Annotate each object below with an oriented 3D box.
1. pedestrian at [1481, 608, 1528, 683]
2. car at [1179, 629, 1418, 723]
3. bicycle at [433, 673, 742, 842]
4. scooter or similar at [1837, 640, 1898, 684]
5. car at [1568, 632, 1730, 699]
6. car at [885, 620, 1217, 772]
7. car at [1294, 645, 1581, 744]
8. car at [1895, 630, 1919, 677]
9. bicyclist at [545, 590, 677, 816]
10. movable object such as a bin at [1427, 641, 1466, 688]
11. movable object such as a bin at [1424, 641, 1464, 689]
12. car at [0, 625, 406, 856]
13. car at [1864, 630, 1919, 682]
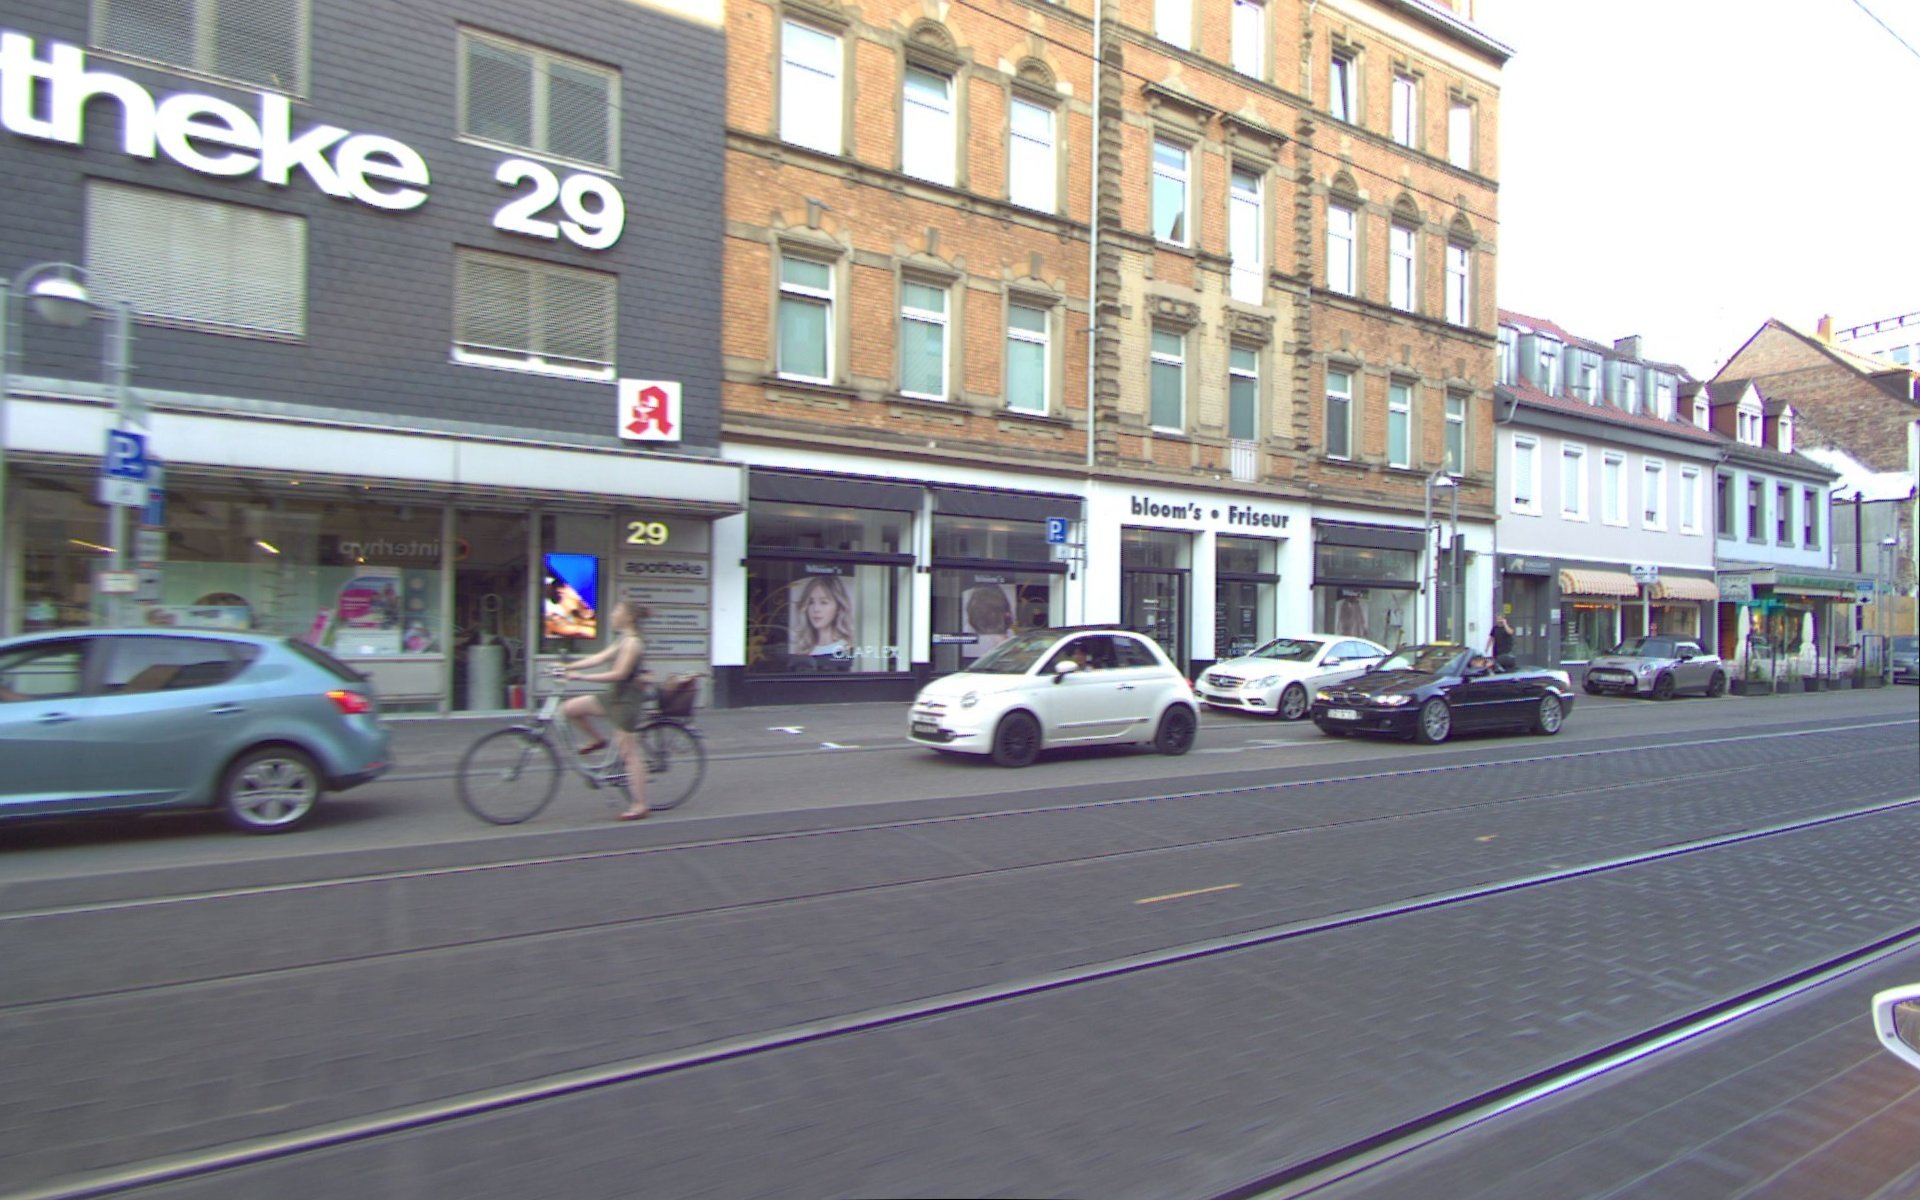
[{"bbox_3d":[13.417,1.111,24.749,0.845,1.796,0.645,1,0,-30],"label":"pedestrian"},{"bbox_3d":[6.085,1.283,17.925,4.227,1.408,1.749,2,1,-33],"label":"car"},{"bbox_3d":[-2.737,1.105,7.493,2.058,1.047,0.689,2,-1,-32],"label":"bicycle"},{"bbox_3d":[27.591,1.880,30.551,0.290,1.221,1.308,1,1,-29],"label":"scooter or similar"},{"bbox_3d":[16.646,1.547,24.234,3.818,1.408,1.726,2,1,-30],"label":"car"},{"bbox_3d":[1.102,1.054,11.816,3.638,1.525,1.659,2,-4,-31],"label":"car"},{"bbox_3d":[6.889,1.274,14.382,4.224,1.244,1.659,2,-4,-31],"label":"car"},{"bbox_3d":[34.312,1.883,34.524,4.785,1.524,1.840,2,1,-30],"label":"car"},{"bbox_3d":[-2.631,0.736,7.556,0.790,1.586,0.689,1,-1,-32],"label":"bicyclist"},{"bbox_3d":[12.288,1.616,25.382,0.720,1.146,0.587,1,-1,-30],"label":"movable object such as a bin"},{"bbox_3d":[11.869,1.575,24.639,0.720,1.146,0.587,1,-1,-30],"label":"movable object such as a bin"},{"bbox_3d":[-6.148,0.901,6.966,4.013,1.404,1.751,2,-4,-30],"label":"car"},{"bbox_3d":[30.517,1.784,32.164,2.780,1.524,1.583,2,1,-31],"label":"car"}]
